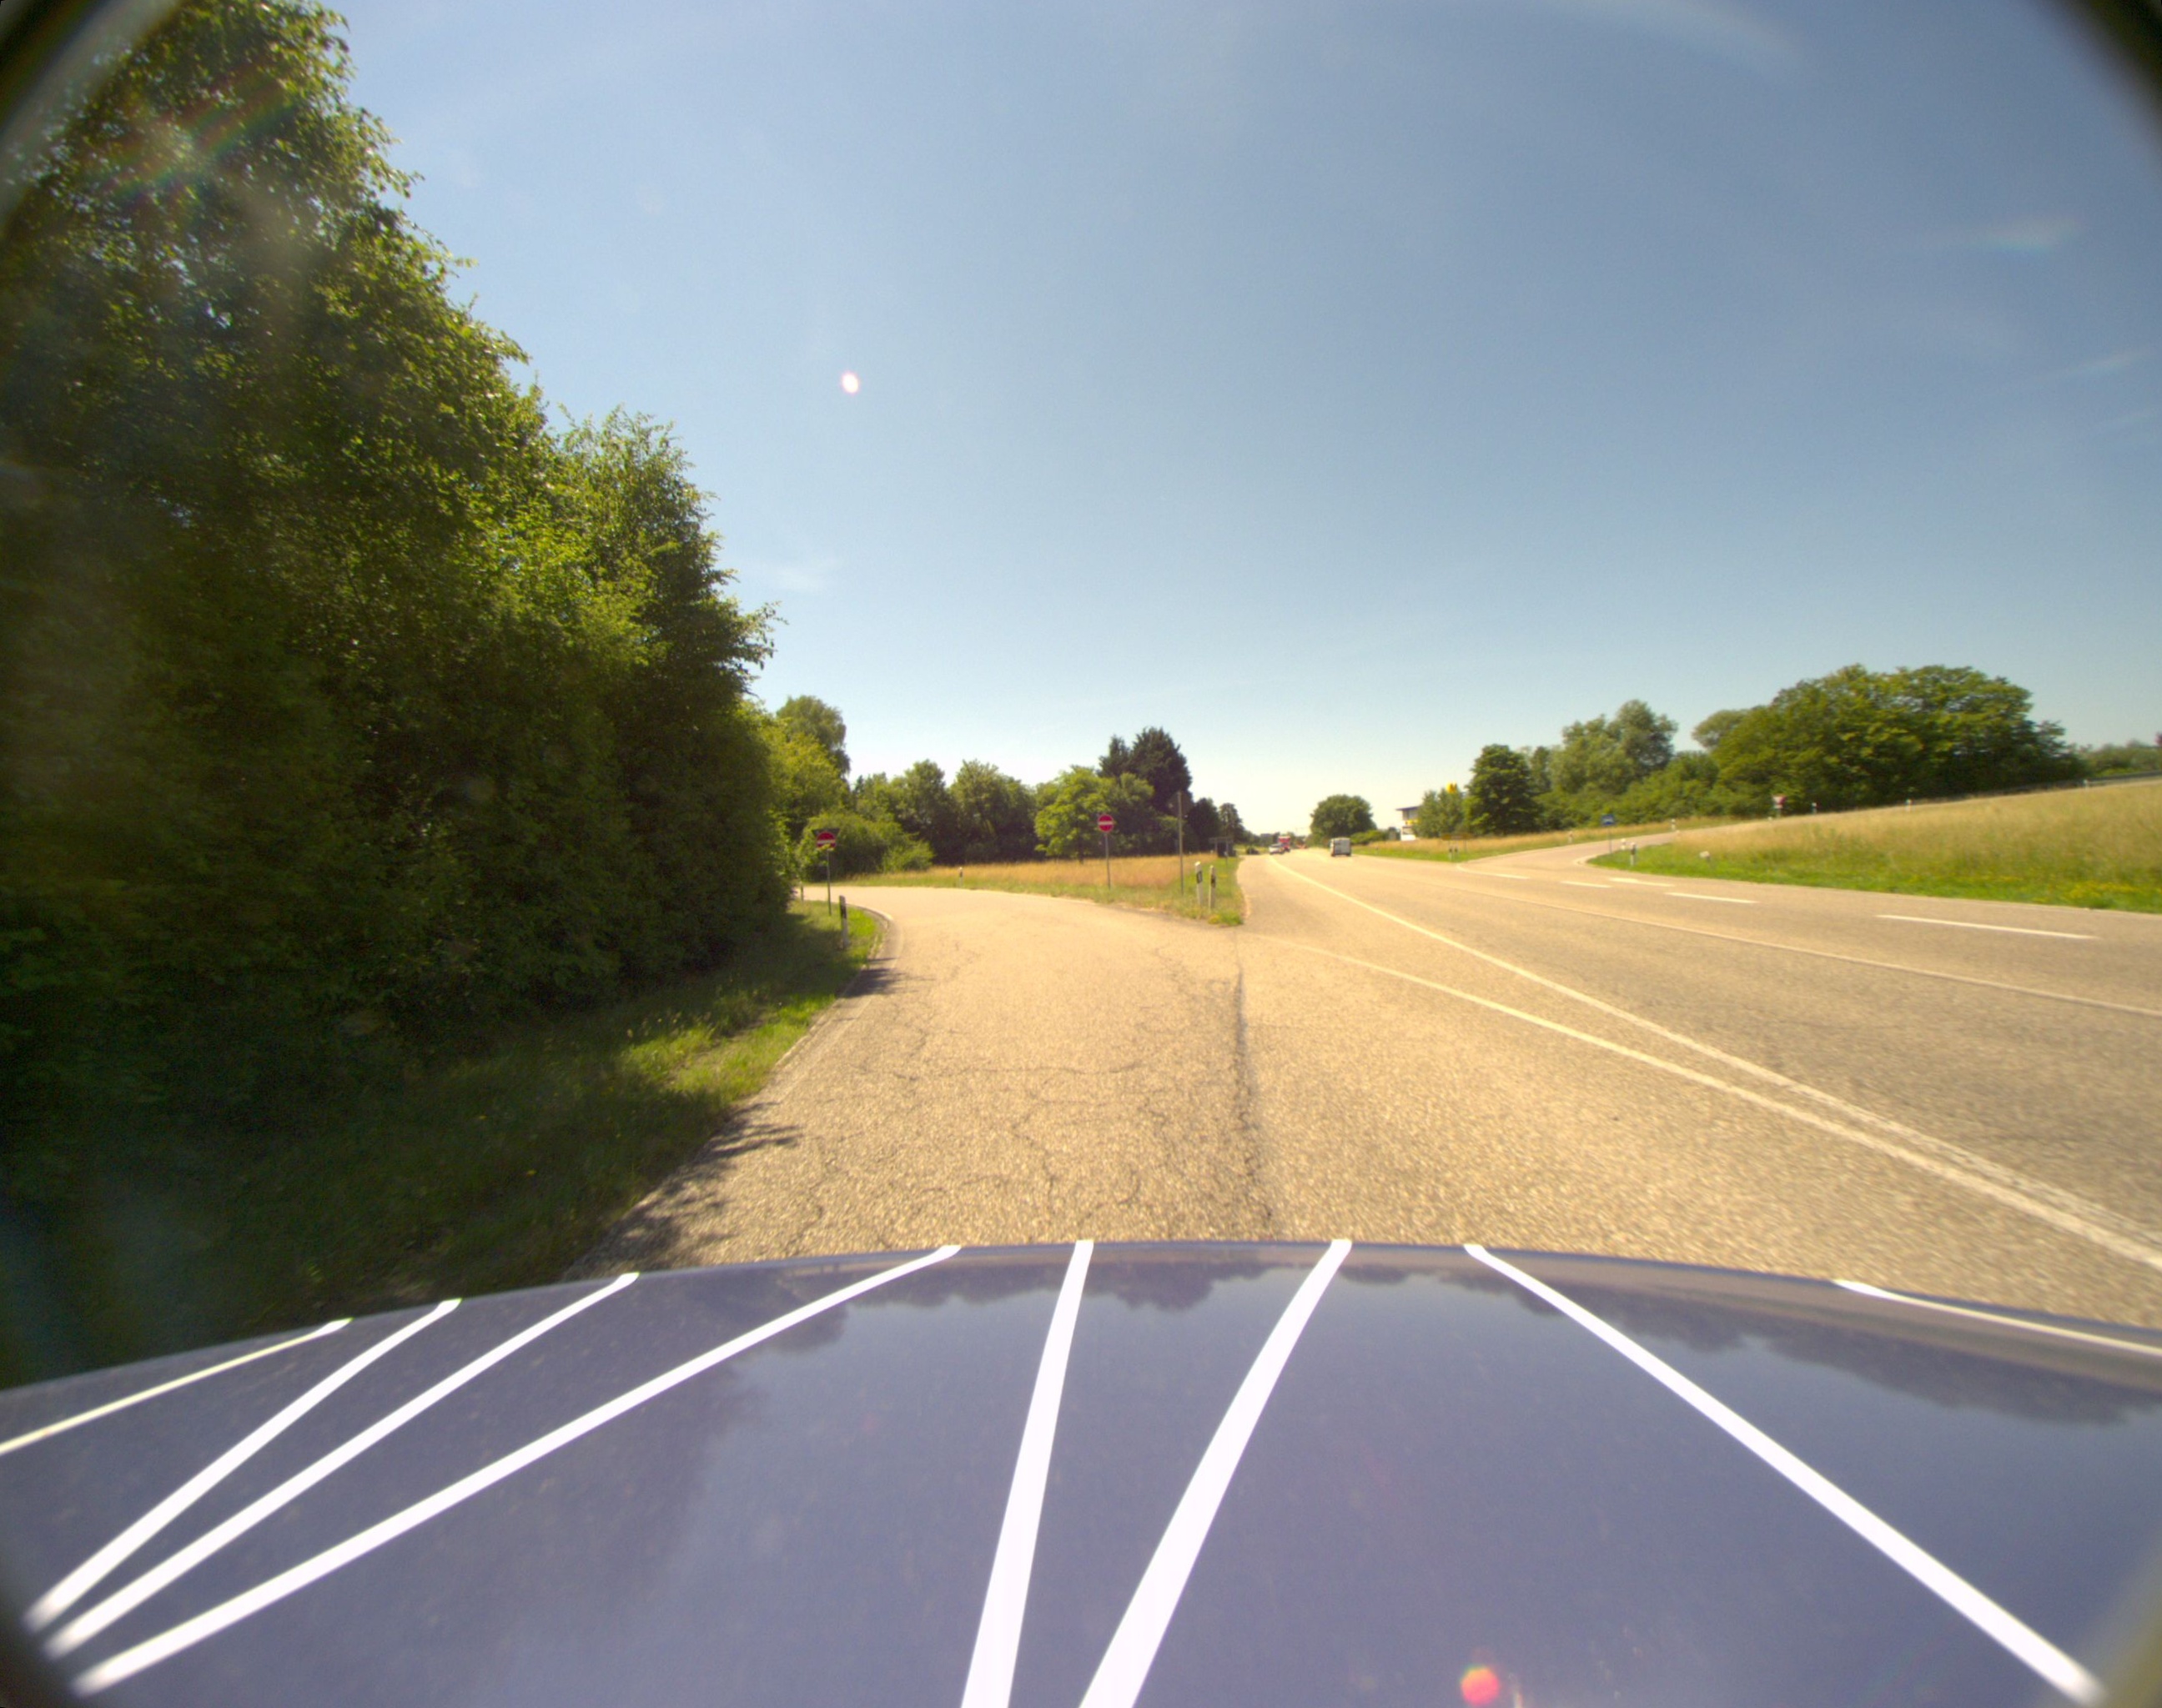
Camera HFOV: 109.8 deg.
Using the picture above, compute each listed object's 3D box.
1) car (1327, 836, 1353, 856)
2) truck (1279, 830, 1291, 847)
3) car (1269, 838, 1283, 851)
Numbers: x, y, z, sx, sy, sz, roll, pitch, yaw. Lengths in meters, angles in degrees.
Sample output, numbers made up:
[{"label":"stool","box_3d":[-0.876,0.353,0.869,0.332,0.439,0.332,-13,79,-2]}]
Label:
[{"label":"car","box_3d":[27.840,-0.865,81.836,1.912,1.949,5.399,-2,-1,10]},{"label":"truck","box_3d":[40.647,-3.002,151.188,1.996,3.158,7.013,-2,-1,17]},{"label":"car","box_3d":[30.297,-1.457,118.036,1.911,1.949,4.461,-2,-1,14]}]
